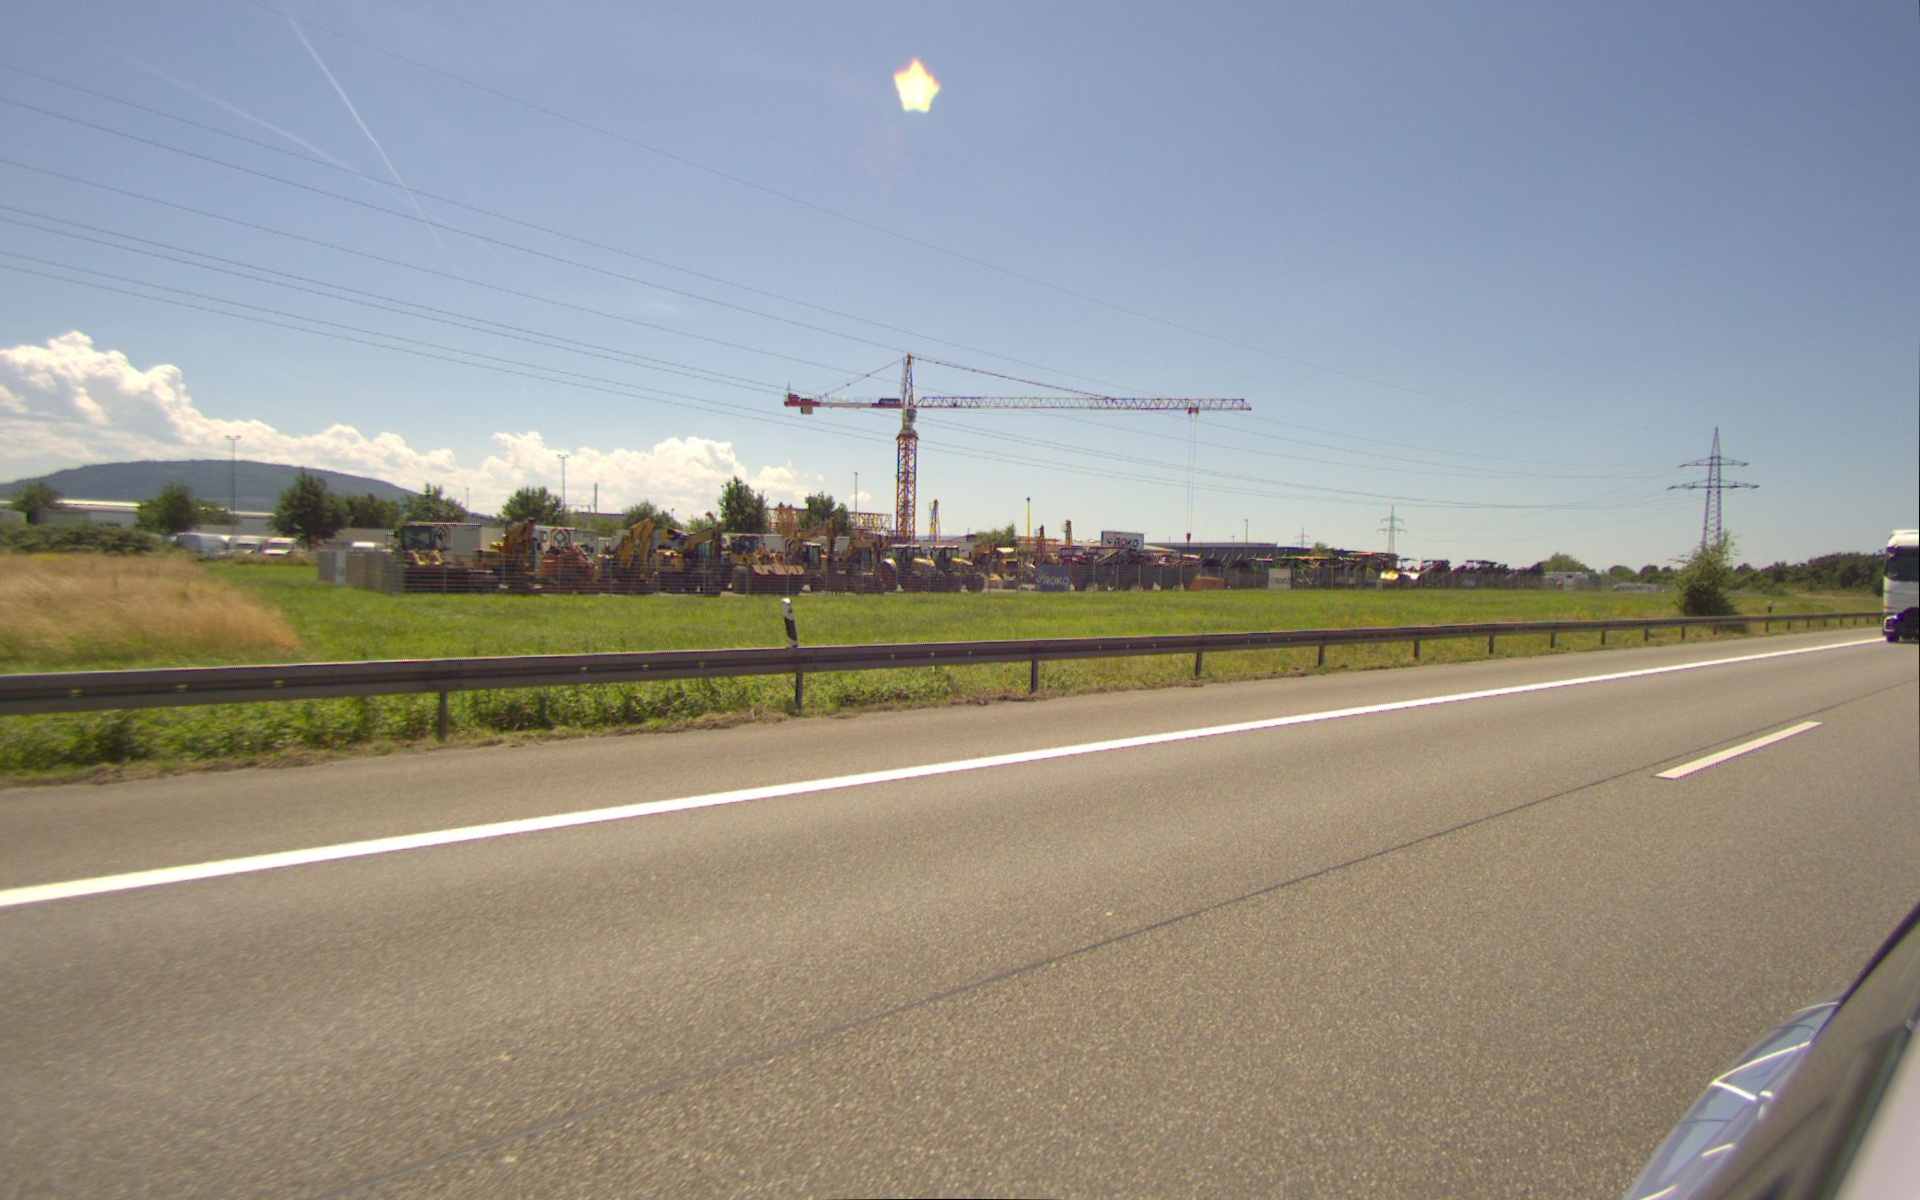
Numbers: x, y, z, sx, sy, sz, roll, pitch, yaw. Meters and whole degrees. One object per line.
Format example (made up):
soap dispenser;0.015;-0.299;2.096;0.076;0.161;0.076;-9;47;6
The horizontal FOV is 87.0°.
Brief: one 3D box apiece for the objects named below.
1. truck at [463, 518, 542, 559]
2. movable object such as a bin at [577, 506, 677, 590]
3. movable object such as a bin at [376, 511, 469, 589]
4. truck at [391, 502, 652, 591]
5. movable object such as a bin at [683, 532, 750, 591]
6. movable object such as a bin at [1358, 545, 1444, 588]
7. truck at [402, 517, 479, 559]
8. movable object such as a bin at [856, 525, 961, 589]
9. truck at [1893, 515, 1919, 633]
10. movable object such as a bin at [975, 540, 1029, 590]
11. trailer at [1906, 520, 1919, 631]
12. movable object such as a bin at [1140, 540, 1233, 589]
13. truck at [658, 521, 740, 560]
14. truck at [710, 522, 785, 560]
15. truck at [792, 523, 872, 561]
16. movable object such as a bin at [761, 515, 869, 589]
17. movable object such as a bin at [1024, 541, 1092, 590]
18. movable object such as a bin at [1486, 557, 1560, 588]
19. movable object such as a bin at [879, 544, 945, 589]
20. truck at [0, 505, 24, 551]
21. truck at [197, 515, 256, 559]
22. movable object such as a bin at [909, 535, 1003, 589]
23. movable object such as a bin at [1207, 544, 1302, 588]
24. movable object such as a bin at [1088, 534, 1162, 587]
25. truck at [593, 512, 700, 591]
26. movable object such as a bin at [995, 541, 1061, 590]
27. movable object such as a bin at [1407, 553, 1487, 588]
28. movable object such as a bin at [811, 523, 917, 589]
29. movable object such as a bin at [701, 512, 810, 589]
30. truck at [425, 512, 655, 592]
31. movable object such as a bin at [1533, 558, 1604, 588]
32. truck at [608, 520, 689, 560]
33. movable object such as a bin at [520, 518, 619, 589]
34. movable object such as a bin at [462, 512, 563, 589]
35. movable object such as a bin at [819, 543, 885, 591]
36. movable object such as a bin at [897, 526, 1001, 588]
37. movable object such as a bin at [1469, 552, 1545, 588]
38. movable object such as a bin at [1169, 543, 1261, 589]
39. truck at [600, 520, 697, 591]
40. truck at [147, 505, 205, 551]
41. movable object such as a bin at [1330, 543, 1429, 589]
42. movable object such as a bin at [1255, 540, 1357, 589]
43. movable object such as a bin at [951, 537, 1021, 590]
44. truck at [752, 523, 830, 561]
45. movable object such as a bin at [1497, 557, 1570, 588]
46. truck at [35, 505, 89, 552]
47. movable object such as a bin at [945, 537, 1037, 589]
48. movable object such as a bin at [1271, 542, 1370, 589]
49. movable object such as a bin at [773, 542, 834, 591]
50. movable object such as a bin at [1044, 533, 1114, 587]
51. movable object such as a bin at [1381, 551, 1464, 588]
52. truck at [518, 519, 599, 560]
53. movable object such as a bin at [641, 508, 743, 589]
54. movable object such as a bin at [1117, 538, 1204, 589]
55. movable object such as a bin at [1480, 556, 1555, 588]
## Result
truck;-40.579;-5.462;89.567;8.122;3.453;2.603;3;3;35
movable object such as a bin;-18.754;-2.736;56.634;2.829;4.351;8.114;0;0;-38
movable object such as a bin;-26.732;-2.324;50.157;2.829;3.507;7.584;0;0;-38
truck;-25.830;-2.959;60.578;14.066;4.832;3.051;-1;0;-39
movable object such as a bin;-20.768;-3.135;85.859;3.227;4.709;8.849;0;0;-29
movable object such as a bin;48.297;-3.582;111.007;3.289;4.569;8.114;0;0;-38
truck;-45.300;-5.428;88.093;8.122;3.453;2.496;3;3;35
movable object such as a bin;-3.593;-2.780;68.717;3.080;4.001;8.114;0;0;-38
truck;34.671;-0.881;35.221;5.622;3.942;2.572;-1;1;-40
movable object such as a bin;4.139;-3.395;101.841;2.658;4.803;7.171;0;0;-22
trailer;39.601;-0.937;39.416;13.046;3.942;2.572;-1;1;-40
movable object such as a bin;20.138;-3.058;90.729;3.364;4.103;9.405;0;0;-22
truck;-24.529;-5.582;94.973;8.122;3.453;2.802;3;3;35
truck;-20.282;-5.628;96.237;8.148;3.453;2.793;4;3;43
truck;-12.535;-5.686;98.844;8.133;3.453;2.798;4;3;38
movable object such as a bin;-9.286;-2.895;64.040;3.239;4.351;8.114;0;0;-38
movable object such as a bin;10.053;-3.450;105.298;3.072;4.803;9.624;0;0;-20
movable object such as a bin;74.521;-3.597;134.079;2.829;3.955;8.114;0;0;-38
movable object such as a bin;-4.611;-3.043;95.286;3.225;4.014;8.507;0;0;-25
truck;-74.921;-5.594;78.171;2.776;3.453;8.177;0;3;-35
truck;-60.692;-5.214;83.635;2.713;3.453;8.153;0;3;-45
movable object such as a bin;-0.412;-2.912;79.682;3.080;4.001;8.114;0;0;-38
movable object such as a bin;28.605;-3.209;98.783;3.367;4.103;9.399;0;0;-28
movable object such as a bin;13.549;-3.183;84.315;3.366;4.103;9.401;0;0;-8
truck;-20.181;-3.022;65.197;5.875;4.832;3.051;0;0;-39
movable object such as a bin;6.832;-3.425;104.032;3.072;4.803;9.624;0;0;-20
movable object such as a bin;57.574;-3.406;119.877;2.829;3.955;8.114;0;0;-38
movable object such as a bin;-6.400;-2.747;66.231;3.080;4.001;8.114;0;0;-38
movable object such as a bin;-12.572;-2.861;61.612;3.290;4.351;8.114;0;0;-38
truck;-27.529;-3.001;67.209;13.880;4.832;3.051;-1;0;-39
movable object such as a bin;85.699;-3.717;142.716;2.829;3.988;8.114;0;0;-38
truck;-28.869;-5.551;93.679;8.122;3.453;2.802;3;3;35
movable object such as a bin;-21.207;-2.385;54.629;2.829;3.507;8.114;0;0;-38
movable object such as a bin;-22.726;-2.351;51.180;2.829;3.507;8.114;0;0;-38
movable object such as a bin;-9.726;-2.844;90.204;3.225;4.014;8.507;0;0;-25
movable object such as a bin;-0.883;-2.904;71.141;3.080;4.001;8.114;0;0;-38
movable object such as a bin;69.736;-3.775;129.263;2.829;4.429;8.114;0;0;-38
movable object such as a bin;24.185;-3.108;96.700;3.365;4.103;9.403;0;0;-25
truck;-22.008;-3.062;71.698;5.875;4.832;3.051;0;0;-39
truck;-62.966;-5.730;81.208;2.713;3.453;8.153;0;3;-45
movable object such as a bin;44.845;-3.546;108.471;3.374;4.569;9.379;0;0;-38
movable object such as a bin;34.298;-3.436;100.753;3.374;4.569;9.379;0;0;-38
movable object such as a bin;2.394;-3.387;97.795;3.225;4.865;8.507;0;0;-25
truck;-16.348;-5.658;97.657;8.137;3.453;2.797;4;3;40
movable object such as a bin;77.226;-3.627;136.328;2.829;3.988;8.114;0;0;-38
truck;-70.725;-5.626;79.625;2.713;3.453;8.153;0;3;-45
movable object such as a bin;2.408;-2.950;82.894;3.080;4.001;8.114;0;0;-38
movable object such as a bin;37.198;-3.481;104.871;3.374;4.569;9.379;0;0;-38
movable object such as a bin;-13.711;-2.809;88.060;3.224;4.014;8.857;0;0;-22
movable object such as a bin;9.679;-3.183;83.793;3.366;4.103;9.401;0;0;-8
movable object such as a bin;51.980;-3.329;114.027;2.829;3.955;8.114;0;0;-38
truck;-36.204;-5.495;91.066;8.122;3.453;2.802;3;3;35
movable object such as a bin;-15.745;-2.826;59.013;2.829;4.351;8.114;0;0;-38
movable object such as a bin;17.105;-3.042;87.173;3.364;4.103;9.406;0;0;-17
movable object such as a bin;72.376;-3.567;131.509;2.829;3.988;8.114;0;0;-38
